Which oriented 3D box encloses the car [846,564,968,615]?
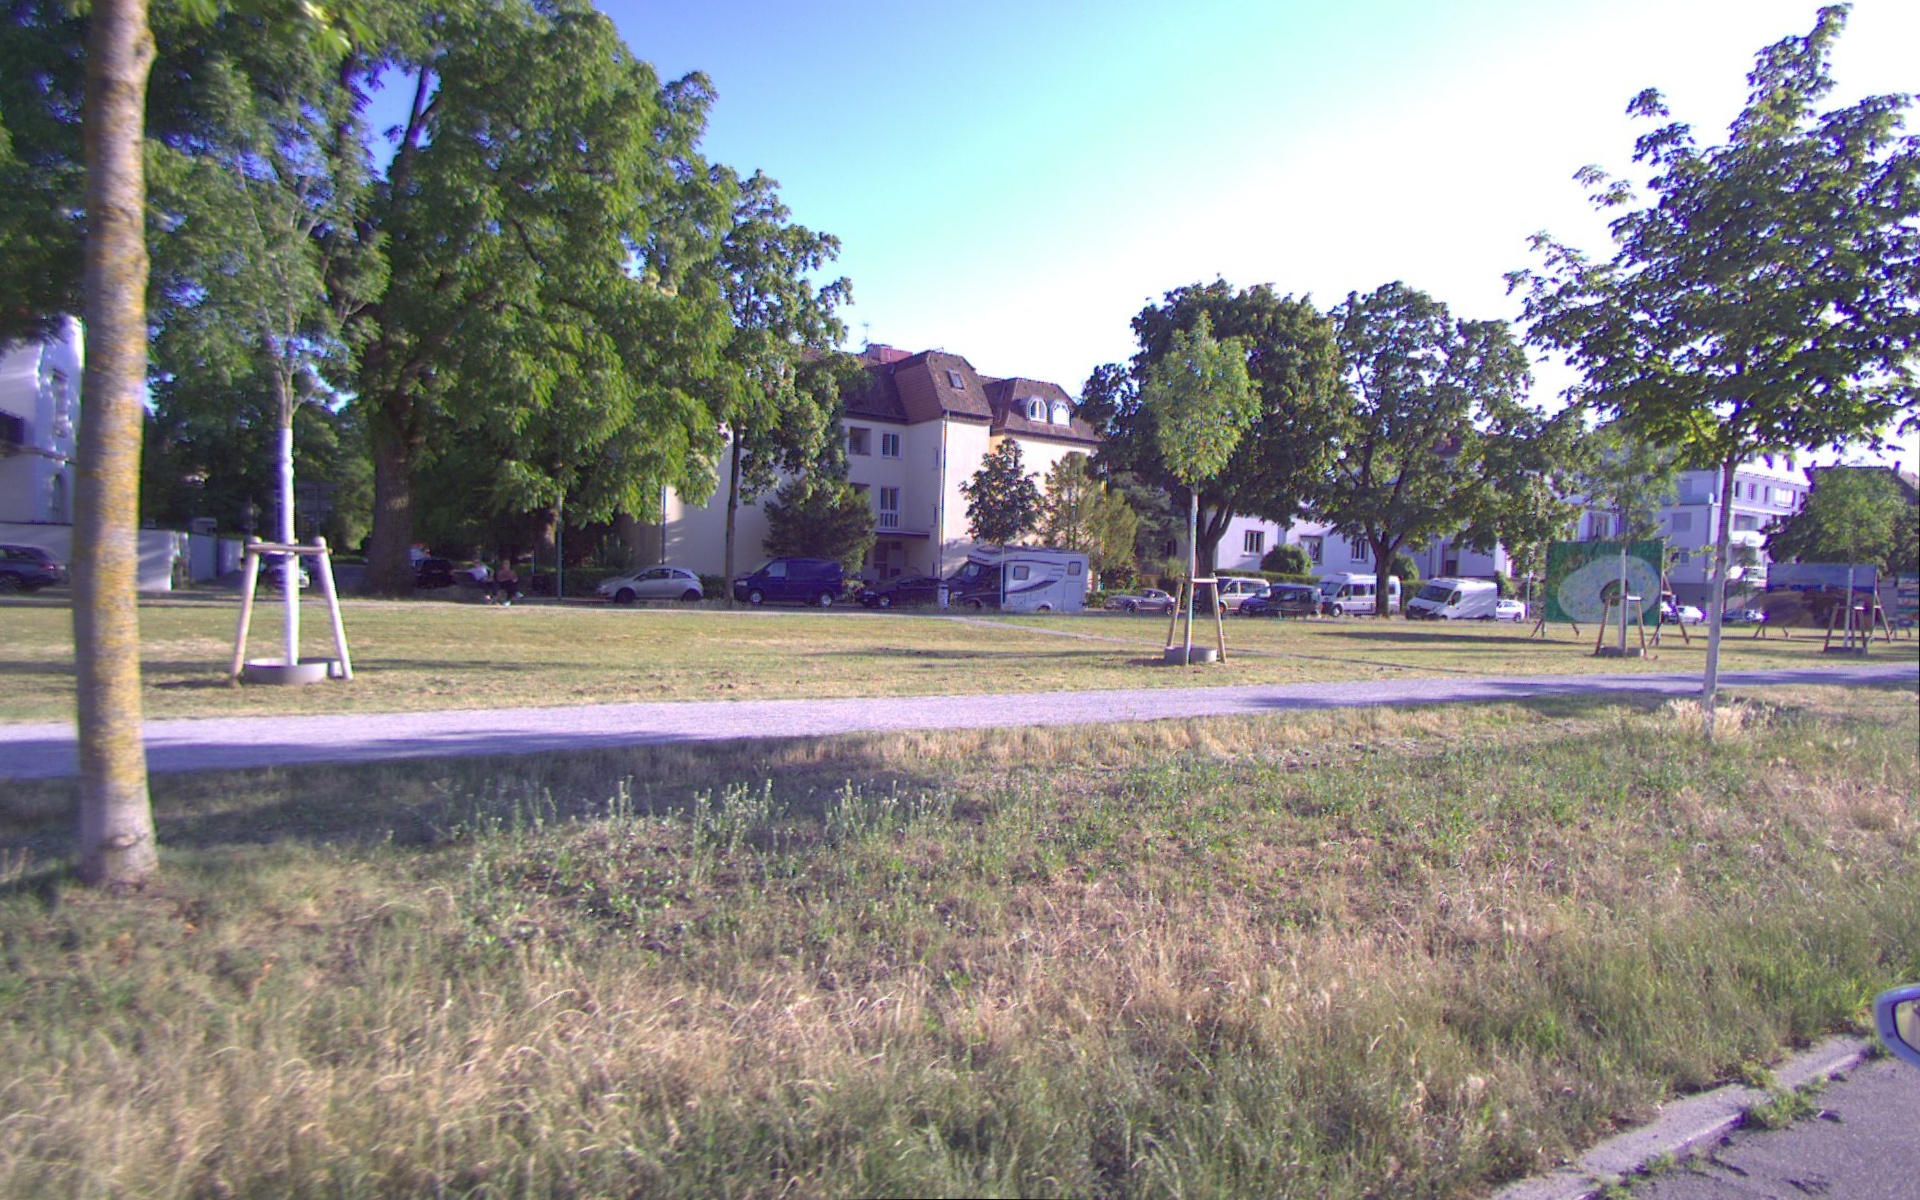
[{"bbox_3d":[-2.322,-0.445,44.196,4.989,2.031,1.961,2,2,-29],"label":"car"}]

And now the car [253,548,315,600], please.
[{"bbox_3d":[-27.127,-1.075,40.373,1.961,1.925,4.483,1,2,-34],"label":"car"}]

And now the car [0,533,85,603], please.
[{"bbox_3d":[-28.296,-0.972,28.697,4.657,1.938,1.881,1,2,-29],"label":"car"}]

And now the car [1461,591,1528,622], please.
[{"bbox_3d":[35.221,0.455,66.153,4.659,1.878,1.722,3,-2,-30],"label":"car"}]

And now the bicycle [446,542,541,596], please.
[{"bbox_3d":[-12.738,-0.839,27.468,2.300,1.360,0.509,1,2,-27],"label":"bicycle"}]

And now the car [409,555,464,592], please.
[{"bbox_3d":[-26.107,-1.336,50.007,2.156,1.703,4.111,1,2,-31],"label":"car"}]

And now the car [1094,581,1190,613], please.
[{"bbox_3d":[9.231,-0.127,50.992,4.502,1.421,1.987,2,-2,-26],"label":"car"}]

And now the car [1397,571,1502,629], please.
[{"bbox_3d":[26.320,0.065,53.943,5.802,2.863,2.250,3,-2,-30],"label":"car"}]

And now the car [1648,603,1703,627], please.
[{"bbox_3d":[55.851,1.185,78.398,4.406,1.767,1.813,3,-2,-29],"label":"car"}]

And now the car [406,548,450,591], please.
[{"bbox_3d":[-28.777,-1.667,54.253,1.849,2.152,3.965,1,2,-31],"label":"car"}]

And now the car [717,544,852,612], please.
[{"bbox_3d":[-7.160,-0.842,41.197,5.056,2.450,1.929,3,-2,-30],"label":"car"}]

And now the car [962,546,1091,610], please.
[{"bbox_3d":[3.203,-0.974,47.760,6.020,2.631,1.984,3,-2,-30],"label":"car"}]

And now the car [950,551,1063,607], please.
[{"bbox_3d":[1.850,-0.834,39.511,3.952,2.041,1.984,1,2,-29],"label":"car"}]

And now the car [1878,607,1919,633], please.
[{"bbox_3d":[81.100,1.747,86.249,4.992,2.084,1.985,3,-2,-30],"label":"car"}]

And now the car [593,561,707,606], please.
[{"bbox_3d":[-11.881,-0.632,38.527,3.767,1.563,1.982,1,2,-32],"label":"car"}]

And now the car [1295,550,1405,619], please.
[{"bbox_3d":[22.789,-0.830,58.559,6.686,3.605,2.293,3,-2,-30],"label":"car"}]

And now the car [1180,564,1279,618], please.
[{"bbox_3d":[14.457,-0.420,53.829,5.267,2.638,2.124,3,-2,-32],"label":"car"}]

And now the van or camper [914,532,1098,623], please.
[{"bbox_3d":[1.850,-0.834,39.511,6.821,3.306,2.630,1,2,-30],"label":"van or camper"}]

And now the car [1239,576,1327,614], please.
[{"bbox_3d":[15.120,-0.214,46.965,4.261,1.585,1.406,2,2,-31],"label":"car"}]

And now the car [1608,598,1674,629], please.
[{"bbox_3d":[51.642,1.088,76.124,4.795,2.158,2.229,3,-2,-29],"label":"car"}]

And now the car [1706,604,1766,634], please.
[{"bbox_3d":[54.954,1.363,71.137,4.277,1.942,1.881,3,-2,-30],"label":"car"}]
